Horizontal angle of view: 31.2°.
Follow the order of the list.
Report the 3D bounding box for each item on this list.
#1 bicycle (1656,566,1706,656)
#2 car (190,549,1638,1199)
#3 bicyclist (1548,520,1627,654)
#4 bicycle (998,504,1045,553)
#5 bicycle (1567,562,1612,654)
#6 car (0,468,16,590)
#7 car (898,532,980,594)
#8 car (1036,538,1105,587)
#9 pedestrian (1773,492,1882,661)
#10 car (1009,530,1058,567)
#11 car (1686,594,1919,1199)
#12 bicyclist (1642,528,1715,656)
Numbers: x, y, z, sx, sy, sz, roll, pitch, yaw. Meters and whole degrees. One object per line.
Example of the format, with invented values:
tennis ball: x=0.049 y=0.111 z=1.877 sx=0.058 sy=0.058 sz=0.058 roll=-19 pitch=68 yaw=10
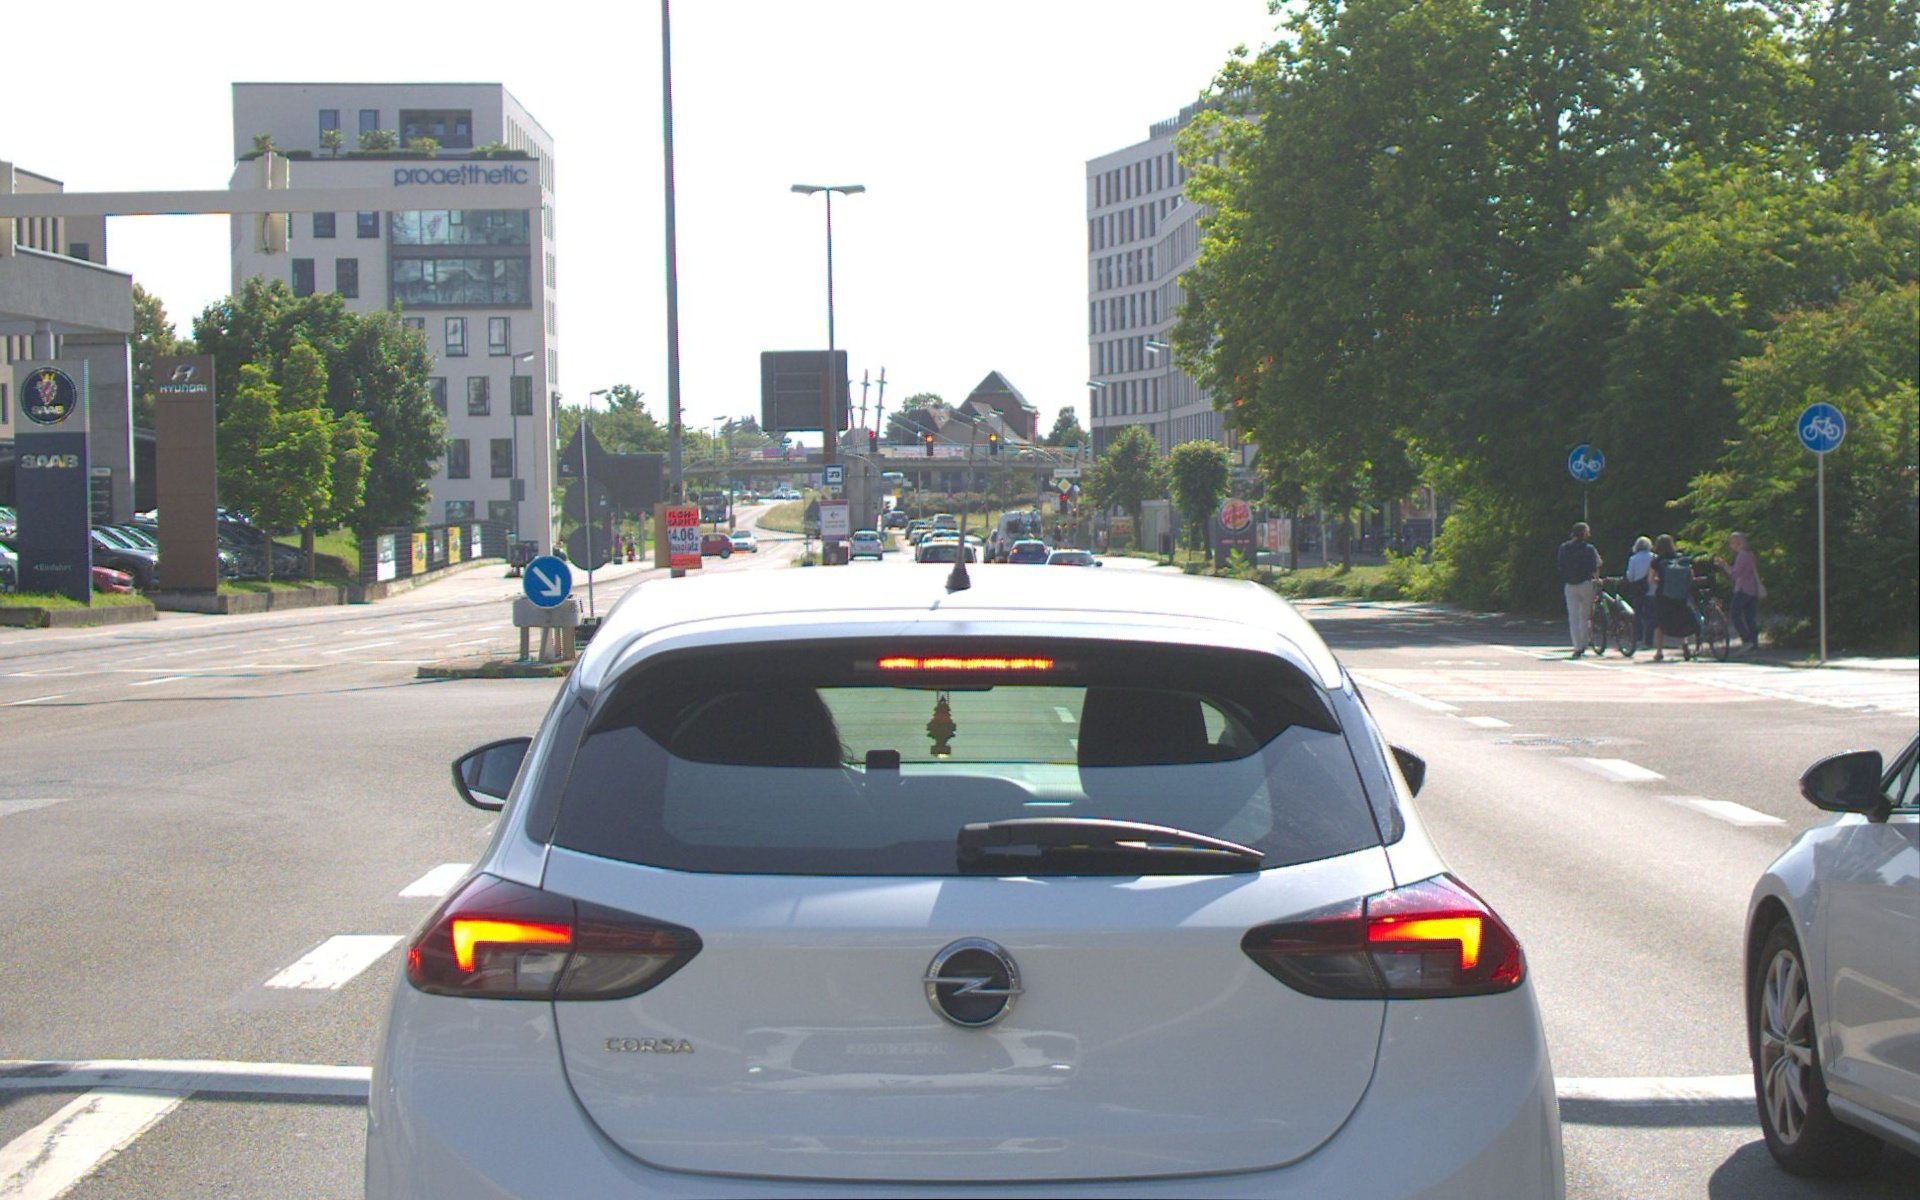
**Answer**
bicycle: x=9.337 y=0.137 z=44.557 sx=0.373 sy=1.143 sz=1.034 roll=1 pitch=0 yaw=-3
car: x=-0.079 y=0.666 z=6.252 sx=1.779 sy=1.489 sz=4.000 roll=-1 pitch=1 yaw=-1
bicyclist: x=8.422 y=-0.183 z=46.156 sx=0.879 sy=1.766 sz=0.864 roll=-1 pitch=1 yaw=0
bicycle: x=2.762 y=-3.233 z=155.330 sx=1.993 sy=2.150 sz=4.000 roll=-1 pitch=1 yaw=-1
bicycle: x=8.449 y=0.096 z=46.155 sx=0.372 sy=1.212 sz=1.154 roll=1 pitch=1 yaw=-1
car: x=-22.552 y=-1.483 z=73.034 sx=4.357 sy=2.592 sz=2.000 roll=-1 pitch=1 yaw=5
car: x=-0.534 y=-0.898 z=84.499 sx=1.806 sy=1.381 sz=4.000 roll=2 pitch=-1 yaw=-3
car: x=3.222 y=-1.092 z=100.696 sx=1.806 sy=1.381 sz=4.000 roll=1 pitch=0 yaw=-1
pedestrian: x=10.474 y=-0.289 z=41.548 sx=1.027 sy=2.007 sz=1.039 roll=-1 pitch=1 yaw=-1
car: x=2.879 y=-2.015 z=135.286 sx=1.806 sy=1.381 sz=4.000 roll=1 pitch=0 yaw=-1
car: x=2.846 y=0.712 z=6.823 sx=1.807 sy=1.424 sz=4.000 roll=-1 pitch=1 yaw=-2
bicyclist: x=9.324 y=-0.109 z=44.641 sx=0.688 sy=1.637 sz=0.777 roll=-1 pitch=1 yaw=-9
